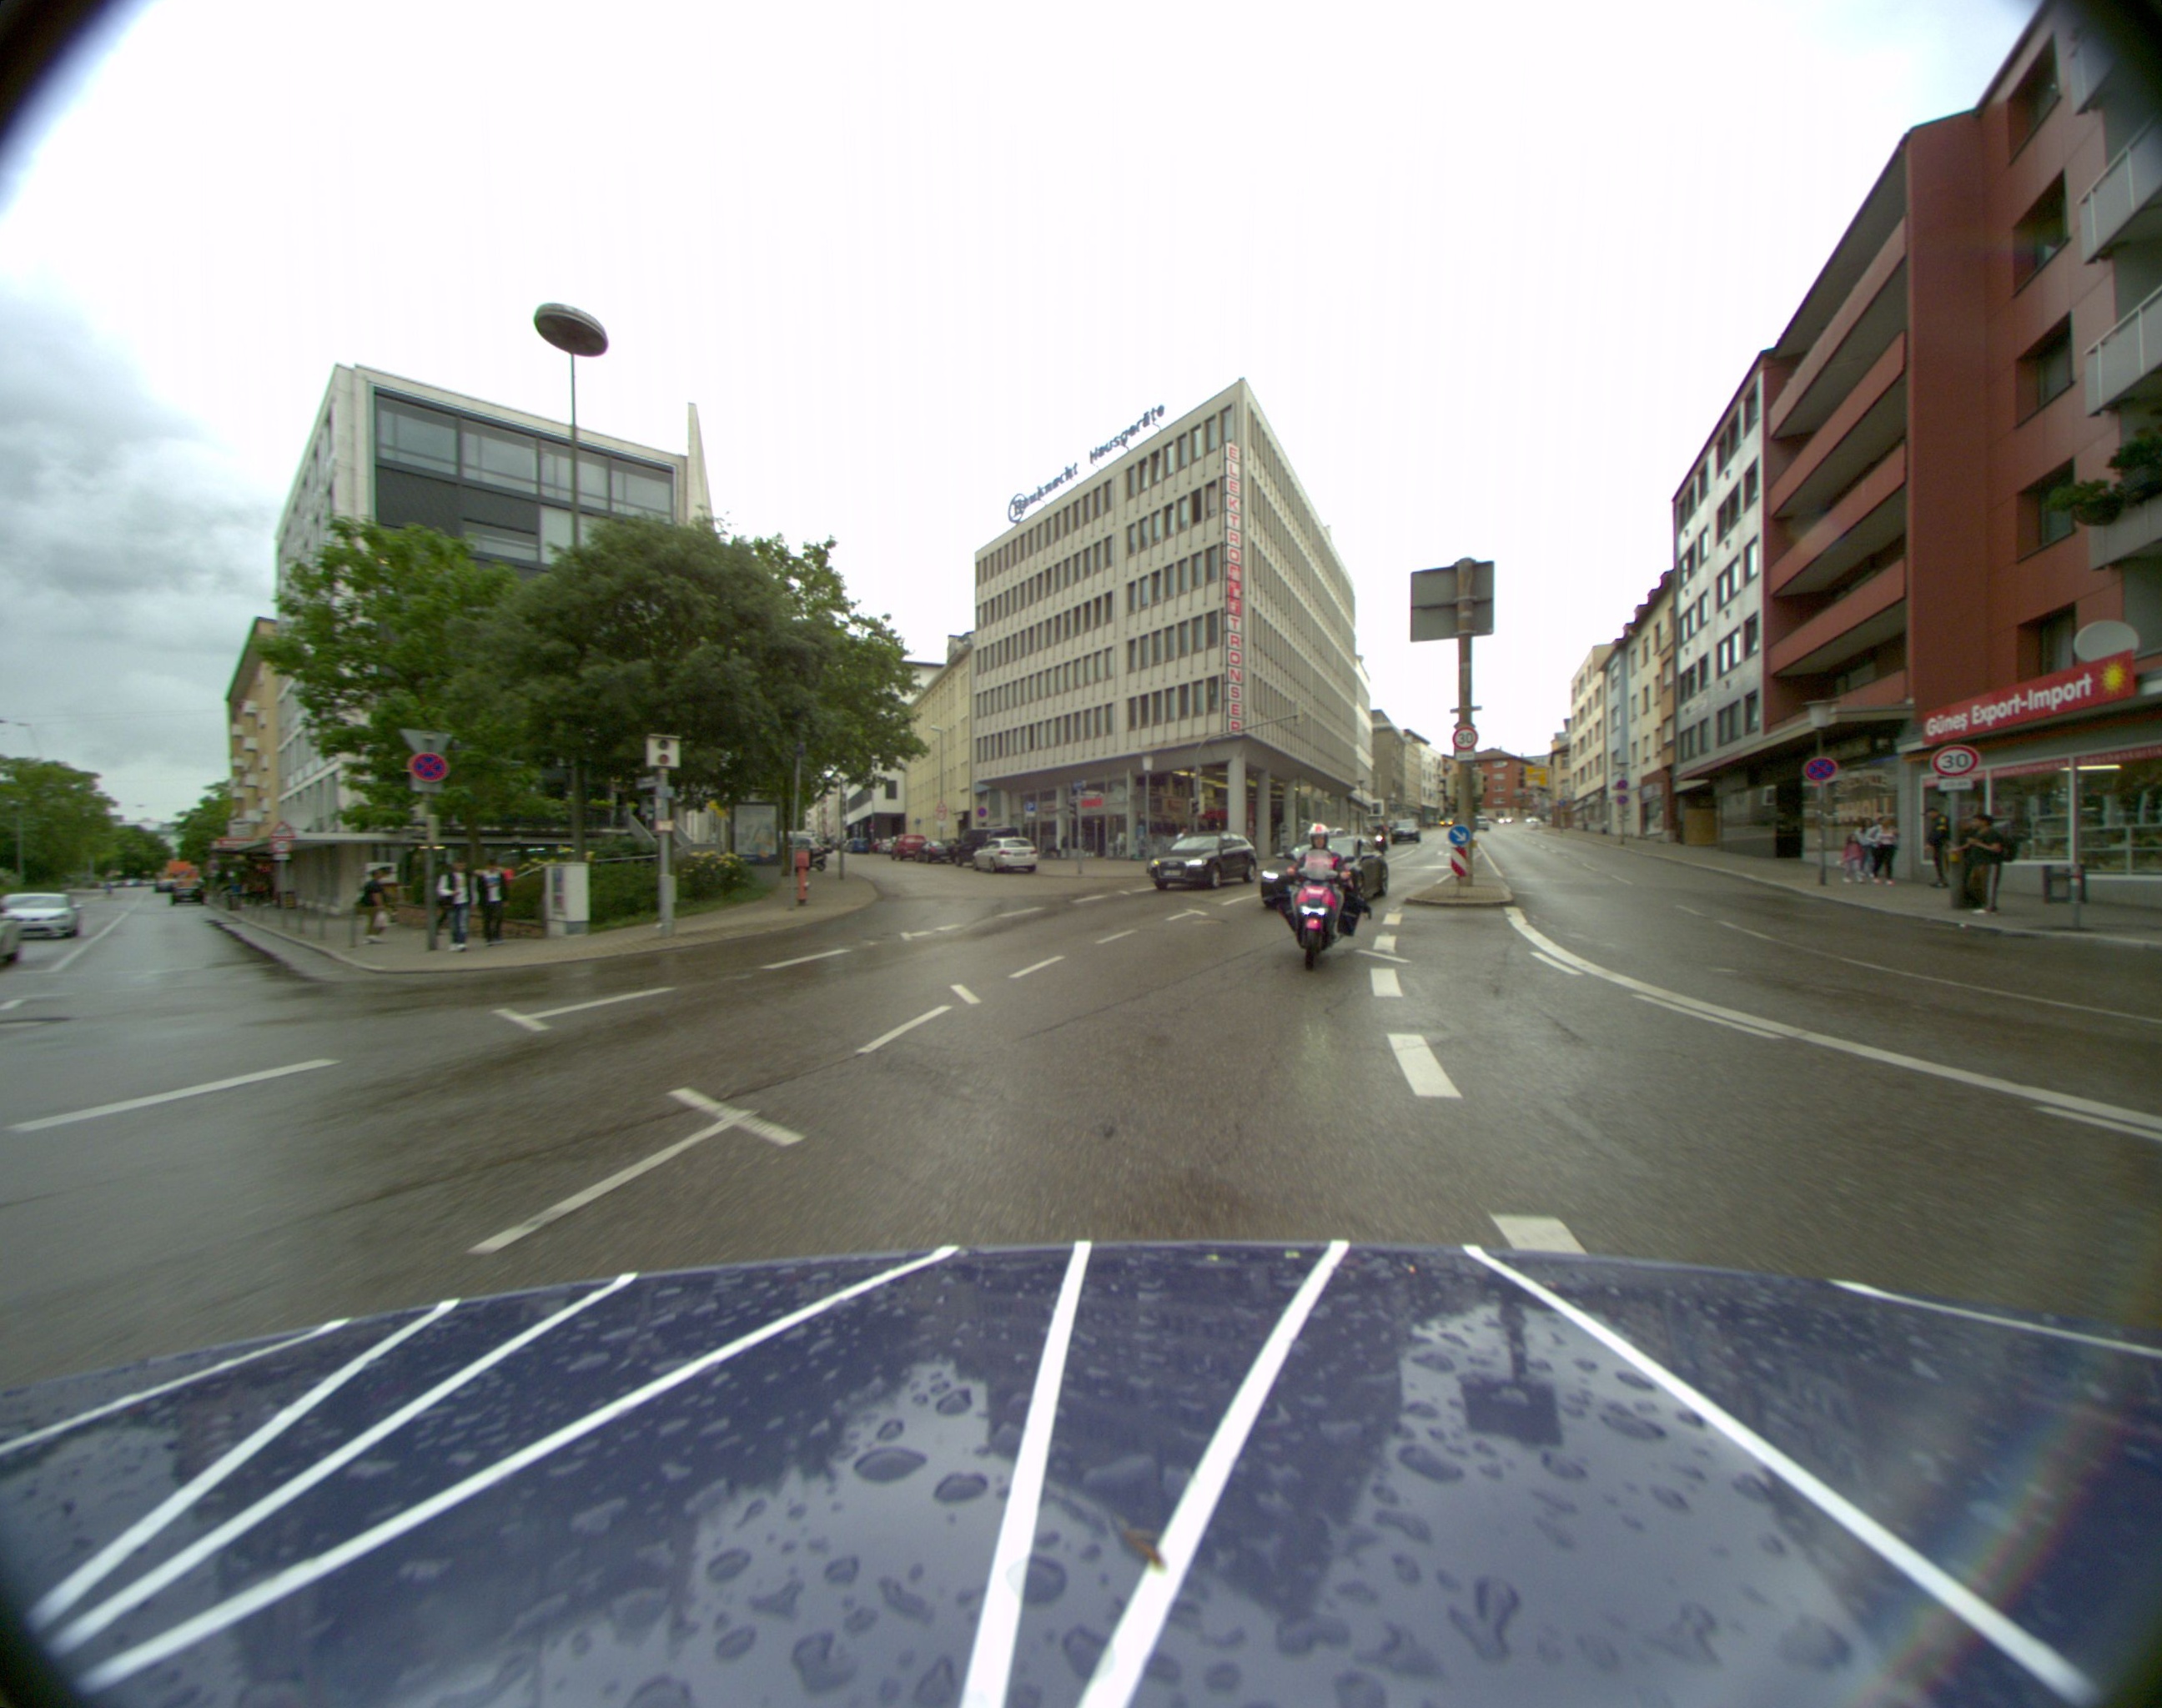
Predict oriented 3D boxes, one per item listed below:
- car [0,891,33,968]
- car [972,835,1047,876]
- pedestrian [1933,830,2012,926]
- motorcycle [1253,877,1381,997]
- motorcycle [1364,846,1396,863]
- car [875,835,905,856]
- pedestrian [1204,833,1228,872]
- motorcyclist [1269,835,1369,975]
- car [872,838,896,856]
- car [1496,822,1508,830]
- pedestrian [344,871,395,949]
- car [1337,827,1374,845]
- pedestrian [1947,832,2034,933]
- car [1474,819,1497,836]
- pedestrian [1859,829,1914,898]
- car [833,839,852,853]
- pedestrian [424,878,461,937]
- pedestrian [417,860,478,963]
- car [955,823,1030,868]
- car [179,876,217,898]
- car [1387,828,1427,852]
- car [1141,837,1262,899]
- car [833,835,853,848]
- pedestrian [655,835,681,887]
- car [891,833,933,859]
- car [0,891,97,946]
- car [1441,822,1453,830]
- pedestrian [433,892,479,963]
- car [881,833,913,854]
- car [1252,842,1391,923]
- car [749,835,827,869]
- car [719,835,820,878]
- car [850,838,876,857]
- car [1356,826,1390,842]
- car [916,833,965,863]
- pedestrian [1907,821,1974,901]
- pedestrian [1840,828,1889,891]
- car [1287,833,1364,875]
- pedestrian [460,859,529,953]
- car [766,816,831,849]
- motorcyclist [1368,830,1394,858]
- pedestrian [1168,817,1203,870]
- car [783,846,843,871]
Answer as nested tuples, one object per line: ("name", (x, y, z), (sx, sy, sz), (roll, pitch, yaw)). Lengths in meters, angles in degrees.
("car", (-22.233, 1.442, 14.699), (3.988, 1.379, 1.979), (-1, -2, 40))
("car", (-3.208, 0.044, 33.141), (2.005, 1.622, 4.605), (-2, 1, -21))
("pedestrian", (16.675, 0.435, 14.232), (0.731, 1.738, 0.700), (-1, 2, 24))
("motorcycle", (2.872, 0.913, 9.248), (1.311, 1.129, 2.187), (0, 2, 18))
("motorcycle", (15.369, 0.019, 39.004), (0.710, 0.837, 2.400), (1, 2, 43))
("car", (-18.849, -0.812, 74.903), (2.029, 1.982, 4.419), (-2, 1, -24))
("pedestrian", (5.631, -0.068, 31.788), (0.716, 1.613, 0.722), (-1, 2, -19))
("motorcyclist", (2.879, 0.574, 9.208), (1.091, 1.596, 0.954), (-1, 2, 18))
("car", (-20.450, -0.748, 78.677), (1.752, 1.785, 3.660), (-2, 1, -24))
("car", (85.724, -5.721, 154.563), (1.824, 1.428, 3.863), (-1, 1, 33))
("pedestrian", (-17.110, 1.323, 18.277), (0.591, 1.803, 0.790), (-2, 1, 44))
("car", (31.503, -2.101, 87.202), (3.990, 1.945, 1.749), (0, 2, 21))
("pedestrian", (16.164, 0.491, 13.524), (0.731, 1.738, 0.744), (-1, 2, 24))
("car", (44.011, -2.886, 82.601), (1.995, 1.728, 4.007), (-1, 1, 30))
("pedestrian", (19.405, 0.218, 18.330), (0.693, 1.620, 0.734), (-1, 2, 26))
("car", (-33.529, -1.116, 106.851), (2.029, 1.825, 4.419), (-2, 1, -24))
("pedestrian", (-17.253, 1.428, 20.519), (0.591, 1.524, 0.638), (-2, 1, 44))
("pedestrian", (-12.170, 1.080, 14.598), (0.786, 1.864, 0.594), (-2, 5, 44))
("car", (-4.585, -0.421, 38.710), (2.100, 2.079, 4.603), (-3, 1, -29))
("car", (-71.603, 2.635, 61.650), (3.988, 1.565, 1.832), (-1, 2, 42))
("car", (23.172, -1.007, 53.970), (1.994, 1.674, 4.007), (0, 2, 32))
("car", (3.559, 0.337, 21.848), (1.867, 1.538, 4.111), (0, 2, 33))
("car", (-31.763, -1.692, 101.321), (2.029, 1.639, 4.419), (-2, 1, -24))
("pedestrian", (-14.812, 0.243, 27.255), (0.593, 1.803, 0.703), (-3, 1, -19))
("car", (-11.800, -0.560, 52.813), (1.936, 1.662, 4.436), (-2, 1, -24))
("car", (-33.422, 2.022, 24.501), (3.988, 1.490, 1.814), (-1, 1, 40))
("car", (63.610, -4.842, 131.995), (1.626, 1.365, 3.454), (-1, 1, 30))
("pedestrian", (-16.686, 1.932, 20.281), (0.591, 1.803, 0.790), (-2, 1, 44))
("car", (-17.052, -0.954, 70.298), (2.029, 1.891, 4.419), (-2, 1, -24))
("car", (5.444, 0.496, 16.747), (1.994, 1.483, 4.743), (0, 1, 29))
("car", (-14.718, -0.129, 38.307), (3.549, 1.550, 1.736), (-2, 3, -21))
("car", (-12.391, 0.056, 30.434), (3.549, 1.551, 1.737), (-2, 3, -18))
("car", (-22.249, -0.615, 77.330), (2.029, 1.830, 4.037), (-2, 1, -22))
("car", (37.182, -2.569, 96.677), (3.990, 2.002, 2.003), (0, 2, 23))
("car", (-8.644, -0.366, 46.544), (2.029, 1.740, 4.605), (-2, 1, -22))
("pedestrian", (19.515, 0.154, 17.276), (0.731, 1.737, 0.695), (-4, 0, 27))
("pedestrian", (20.603, 0.127, 19.988), (0.693, 1.620, 0.734), (-1, 2, 26))
("car", (10.270, -0.020, 31.718), (1.994, 1.575, 4.111), (-1, 1, 33))
("pedestrian", (-11.672, 1.009, 15.117), (0.786, 1.740, 0.784), (-2, 5, 44))
("car", (-20.459, -1.561, 55.112), (3.830, 2.253, 1.986), (-1, 3, 12))
("motorcyclist", (15.407, -0.525, 39.007), (0.909, 1.434, 1.116), (1, 2, 43))
("pedestrian", (4.009, -0.415, 29.146), (0.996, 2.002, 0.945), (-1, 2, -23))
("car", (-14.776, 0.213, 42.047), (3.050, 1.176, 2.048), (-2, 3, -18))
